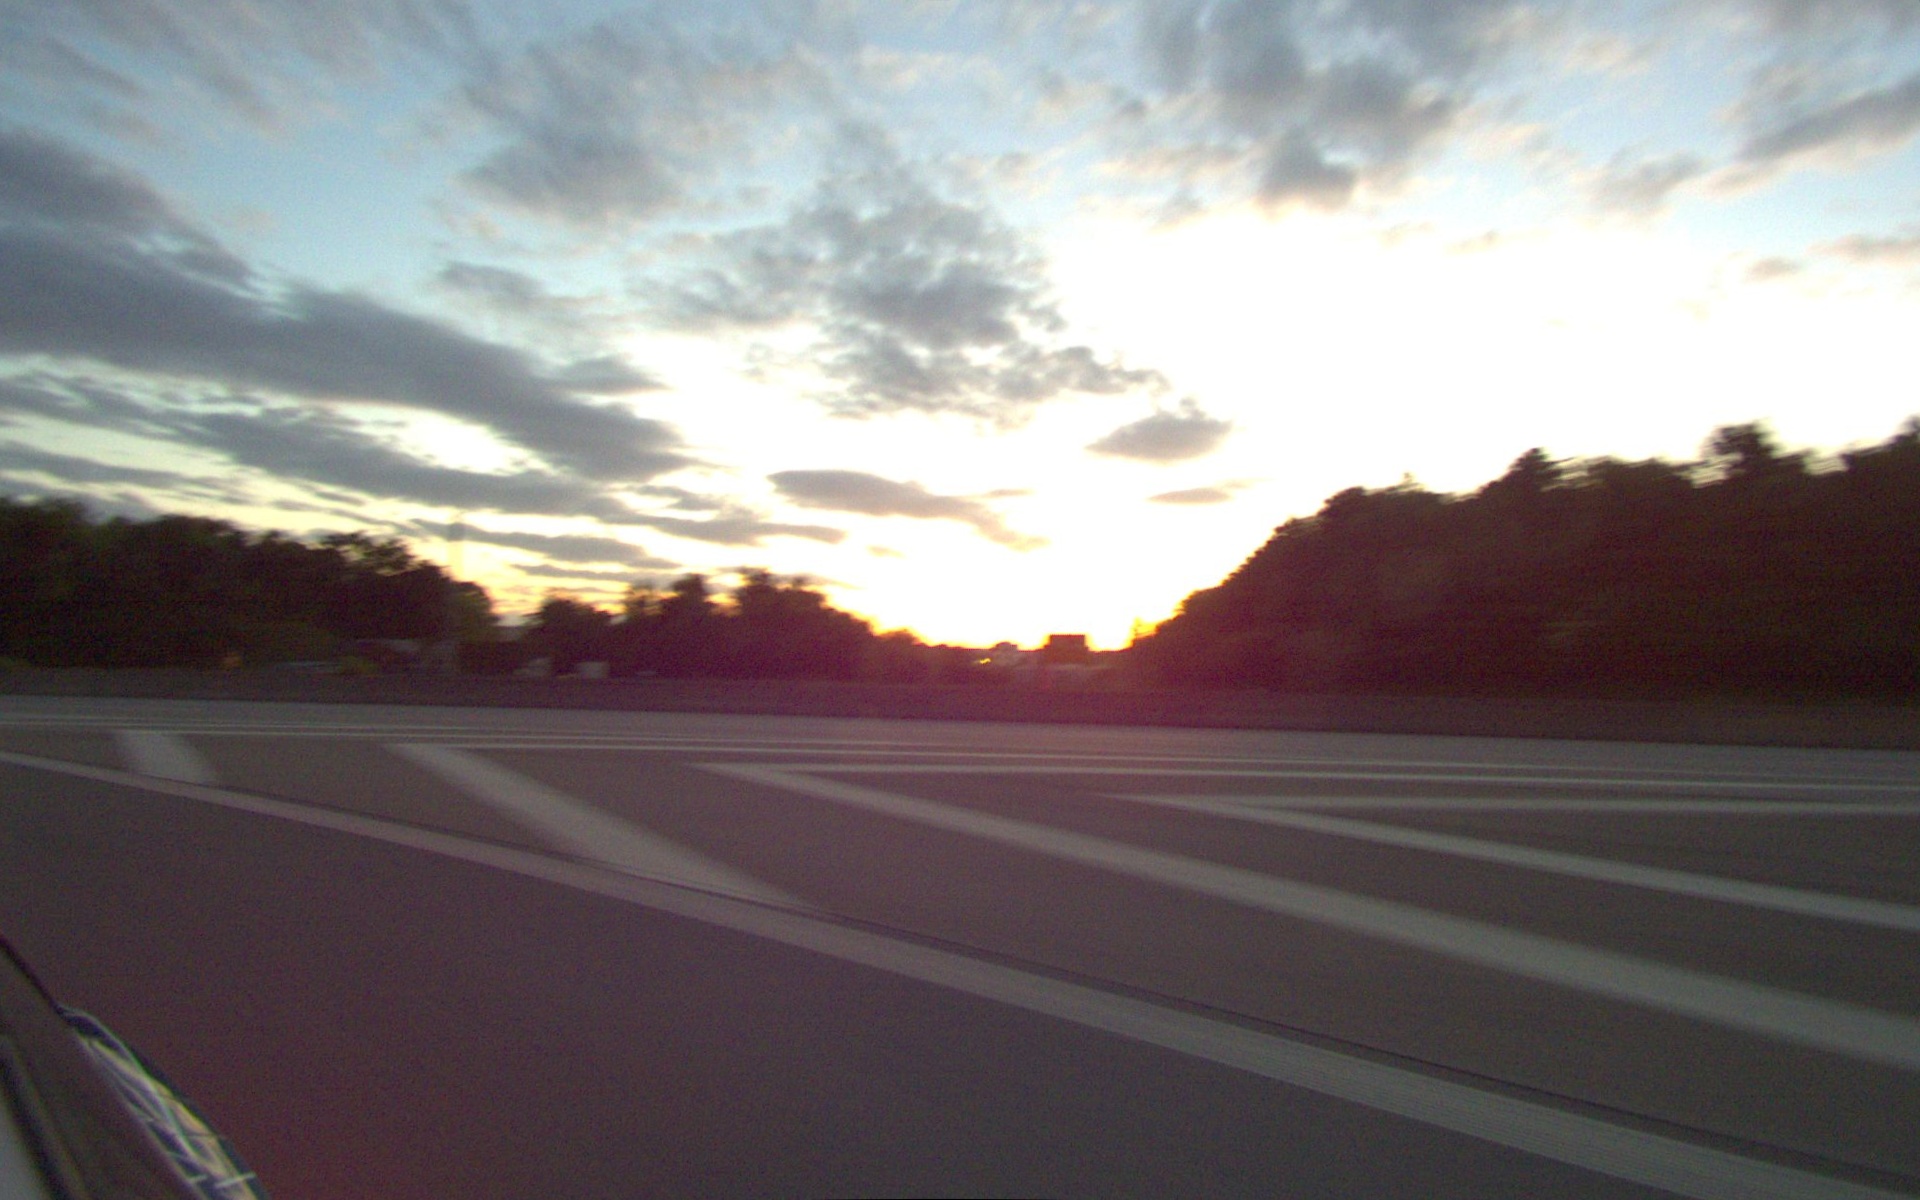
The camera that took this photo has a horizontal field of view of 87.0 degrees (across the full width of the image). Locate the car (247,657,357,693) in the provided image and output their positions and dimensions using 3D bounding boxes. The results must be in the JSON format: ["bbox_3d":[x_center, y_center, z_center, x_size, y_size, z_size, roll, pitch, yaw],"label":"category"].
[{"bbox_3d":[-30.128,3.397,46.372,3.958,1.523,1.993,0,-2,12],"label":"car"}]
